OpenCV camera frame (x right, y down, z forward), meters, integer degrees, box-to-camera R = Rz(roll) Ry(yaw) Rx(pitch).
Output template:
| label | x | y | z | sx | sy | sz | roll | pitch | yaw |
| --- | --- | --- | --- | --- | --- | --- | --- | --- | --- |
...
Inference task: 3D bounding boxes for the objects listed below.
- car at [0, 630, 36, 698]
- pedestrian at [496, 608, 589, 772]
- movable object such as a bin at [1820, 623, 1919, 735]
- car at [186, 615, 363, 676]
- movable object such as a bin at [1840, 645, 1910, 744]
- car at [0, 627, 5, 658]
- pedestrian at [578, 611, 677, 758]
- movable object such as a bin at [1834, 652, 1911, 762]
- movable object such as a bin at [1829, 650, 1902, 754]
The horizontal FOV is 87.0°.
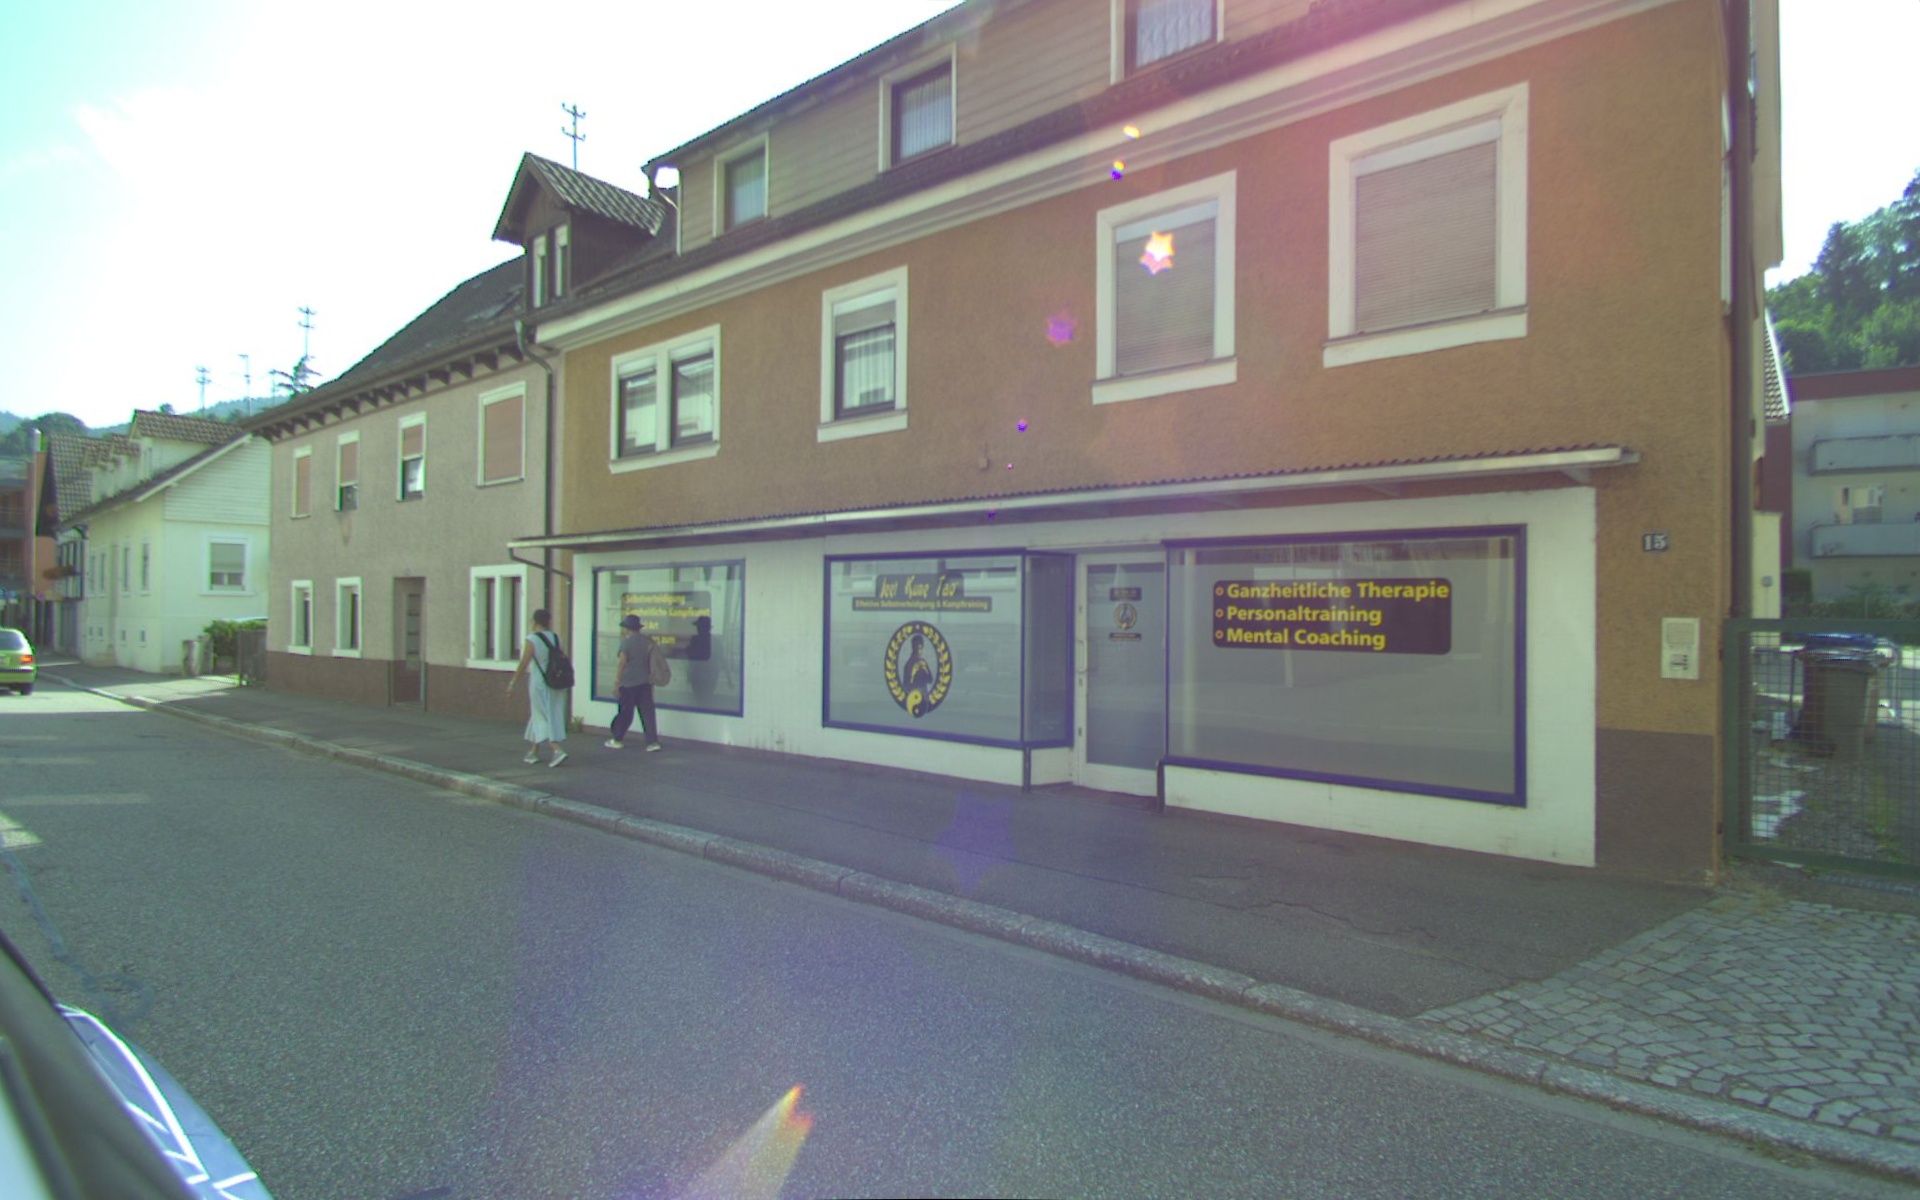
| label | x | y | z | sx | sy | sz | roll | pitch | yaw |
| --- | --- | --- | --- | --- | --- | --- | --- | --- | --- |
| car | -22.336 | 1.394 | 22.934 | 3.658 | 1.475 | 1.580 | -1 | -6 | 41 |
| pedestrian | -4.391 | 0.908 | 10.646 | 0.777 | 1.639 | 0.632 | -1 | -2 | 42 |
| movable object such as a bin | 9.457 | 0.802 | 10.535 | 0.744 | 1.102 | 0.538 | -1 | -1 | 41 |
| car | -20.143 | 1.283 | 29.853 | 1.905 | 1.606 | 3.949 | -1 | -1 | 38 |
| movable object such as a bin | 9.089 | 0.923 | 10.067 | 0.486 | 0.929 | 0.473 | -1 | -1 | 41 |
| car | -46.420 | 2.036 | 47.736 | 3.567 | 1.443 | 1.649 | -2 | -1 | 41 |
| pedestrian | -3.783 | 0.926 | 11.507 | 0.824 | 1.576 | 0.727 | -1 | 0 | 41 |
| movable object such as a bin | 8.272 | 0.956 | 9.191 | 0.486 | 0.929 | 0.473 | -1 | -1 | 41 |
| movable object such as a bin | 8.646 | 0.955 | 9.680 | 0.486 | 0.929 | 0.473 | -1 | -1 | 41 |
